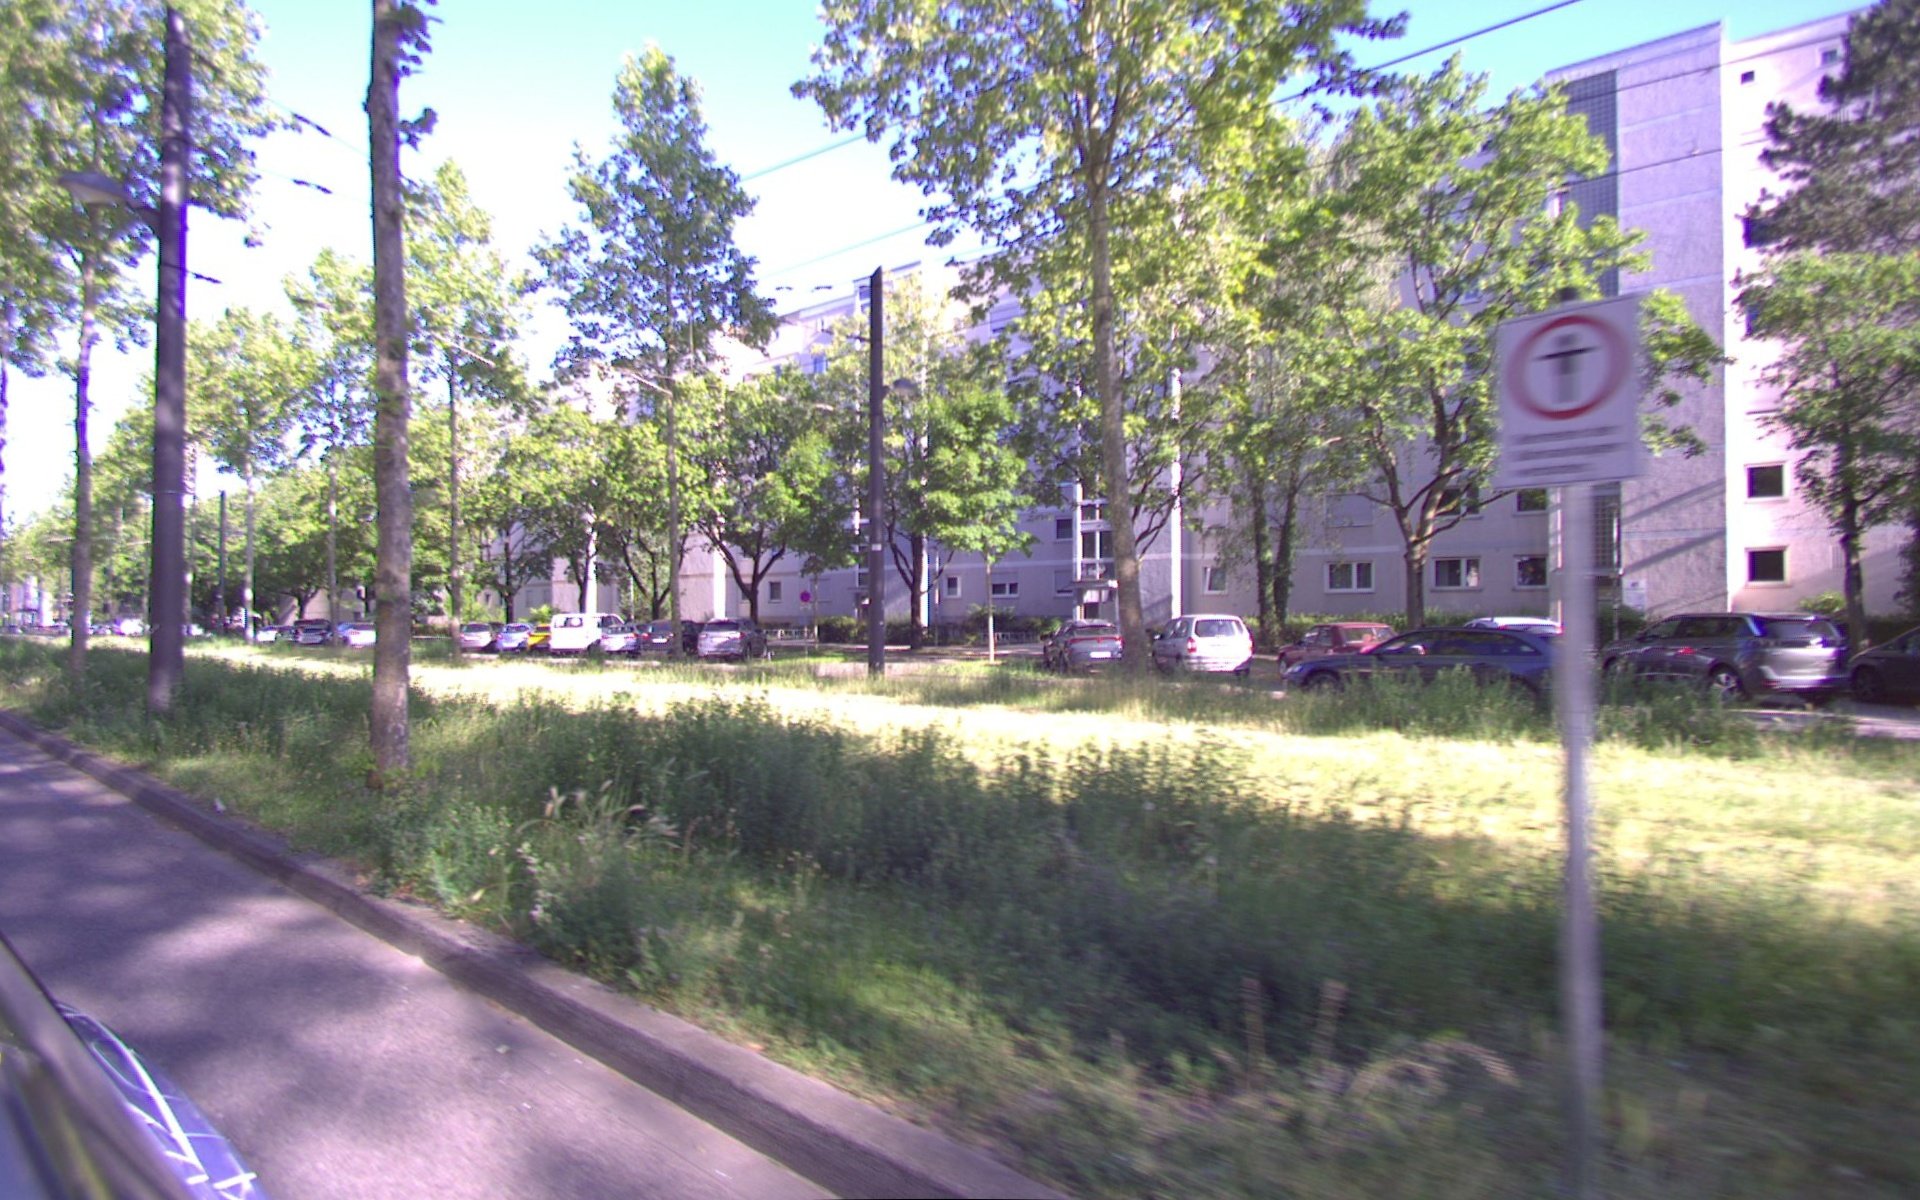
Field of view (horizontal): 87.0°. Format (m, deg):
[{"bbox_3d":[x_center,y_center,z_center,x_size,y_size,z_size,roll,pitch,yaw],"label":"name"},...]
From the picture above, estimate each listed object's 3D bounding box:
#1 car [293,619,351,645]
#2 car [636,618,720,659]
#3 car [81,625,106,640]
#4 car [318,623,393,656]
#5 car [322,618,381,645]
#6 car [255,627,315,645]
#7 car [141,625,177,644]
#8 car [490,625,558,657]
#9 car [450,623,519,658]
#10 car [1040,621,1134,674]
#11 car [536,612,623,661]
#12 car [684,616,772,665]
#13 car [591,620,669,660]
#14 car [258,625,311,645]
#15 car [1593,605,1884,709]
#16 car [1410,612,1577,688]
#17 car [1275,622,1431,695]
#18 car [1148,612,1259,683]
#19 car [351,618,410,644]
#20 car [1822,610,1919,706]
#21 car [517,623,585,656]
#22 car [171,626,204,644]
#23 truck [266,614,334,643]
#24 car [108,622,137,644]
[{"bbox_3d":[-42.775,2.141,67.955,1.625,1.658,4.091,1,-1,-7],"label":"car"},{"bbox_3d":[-11.246,1.520,40.591,1.796,1.542,4.076,-2,-2,7],"label":"car"},{"bbox_3d":[-97.735,3.707,114.126,3.928,1.648,1.577,-2,-2,41],"label":"car"},{"bbox_3d":[-29.962,1.960,50.135,4.082,1.518,1.904,-1,-4,40],"label":"car"},{"bbox_3d":[-39.680,2.050,66.056,1.626,1.658,4.089,-3,-2,-5],"label":"car"},{"bbox_3d":[-48.459,2.544,72.707,1.814,1.256,3.826,0,-2,-1],"label":"car"},{"bbox_3d":[-66.682,2.866,84.259,3.847,1.497,1.629,-1,-2,41],"label":"car"},{"bbox_3d":[-21.355,1.987,49.738,1.628,1.494,4.085,0,-1,-1],"label":"car"},{"bbox_3d":[-24.153,2.015,51.586,1.628,1.658,4.085,-2,-1,-1],"label":"car"},{"bbox_3d":[3.398,1.251,27.828,1.768,1.348,4.136,0,-1,-4],"label":"car"},{"bbox_3d":[-16.830,1.584,44.990,1.867,2.022,4.794,-2,-1,3],"label":"car"},{"bbox_3d":[-8.672,1.495,38.195,1.970,1.619,4.078,4,-1,5],"label":"car"},{"bbox_3d":[-14.107,1.671,43.462,1.560,1.443,4.076,-2,0,7],"label":"car"},{"bbox_3d":[-50.581,2.607,75.891,1.811,1.446,3.832,0,-2,-8],"label":"car"},{"bbox_3d":[14.054,0.967,18.681,1.769,1.688,4.488,0,-1,-2],"label":"car"},{"bbox_3d":[11.547,1.041,22.288,1.597,1.493,4.480,0,-1,5],"label":"car"},{"bbox_3d":[8.730,1.250,22.862,1.768,1.499,3.924,0,-1,-4],"label":"car"},{"bbox_3d":[6.114,1.164,25.844,1.761,1.688,3.980,0,-1,-2],"label":"car"},{"bbox_3d":[-36.471,1.953,63.828,1.626,1.487,4.090,-4,-1,-6],"label":"car"},{"bbox_3d":[16.826,0.952,16.379,1.769,1.580,4.488,0,-1,-2],"label":"car"},{"bbox_3d":[-19.340,1.838,48.026,1.557,1.443,4.085,1,-1,-1],"label":"car"},{"bbox_3d":[-70.156,3.190,91.905,4.200,1.557,1.695,-2,-2,43],"label":"car"},{"bbox_3d":[-45.768,1.953,70.258,1.631,1.788,4.078,5,0,5],"label":"truck"},{"bbox_3d":[-88.653,3.485,107.152,3.931,2.279,1.696,-2,-2,41],"label":"car"}]
